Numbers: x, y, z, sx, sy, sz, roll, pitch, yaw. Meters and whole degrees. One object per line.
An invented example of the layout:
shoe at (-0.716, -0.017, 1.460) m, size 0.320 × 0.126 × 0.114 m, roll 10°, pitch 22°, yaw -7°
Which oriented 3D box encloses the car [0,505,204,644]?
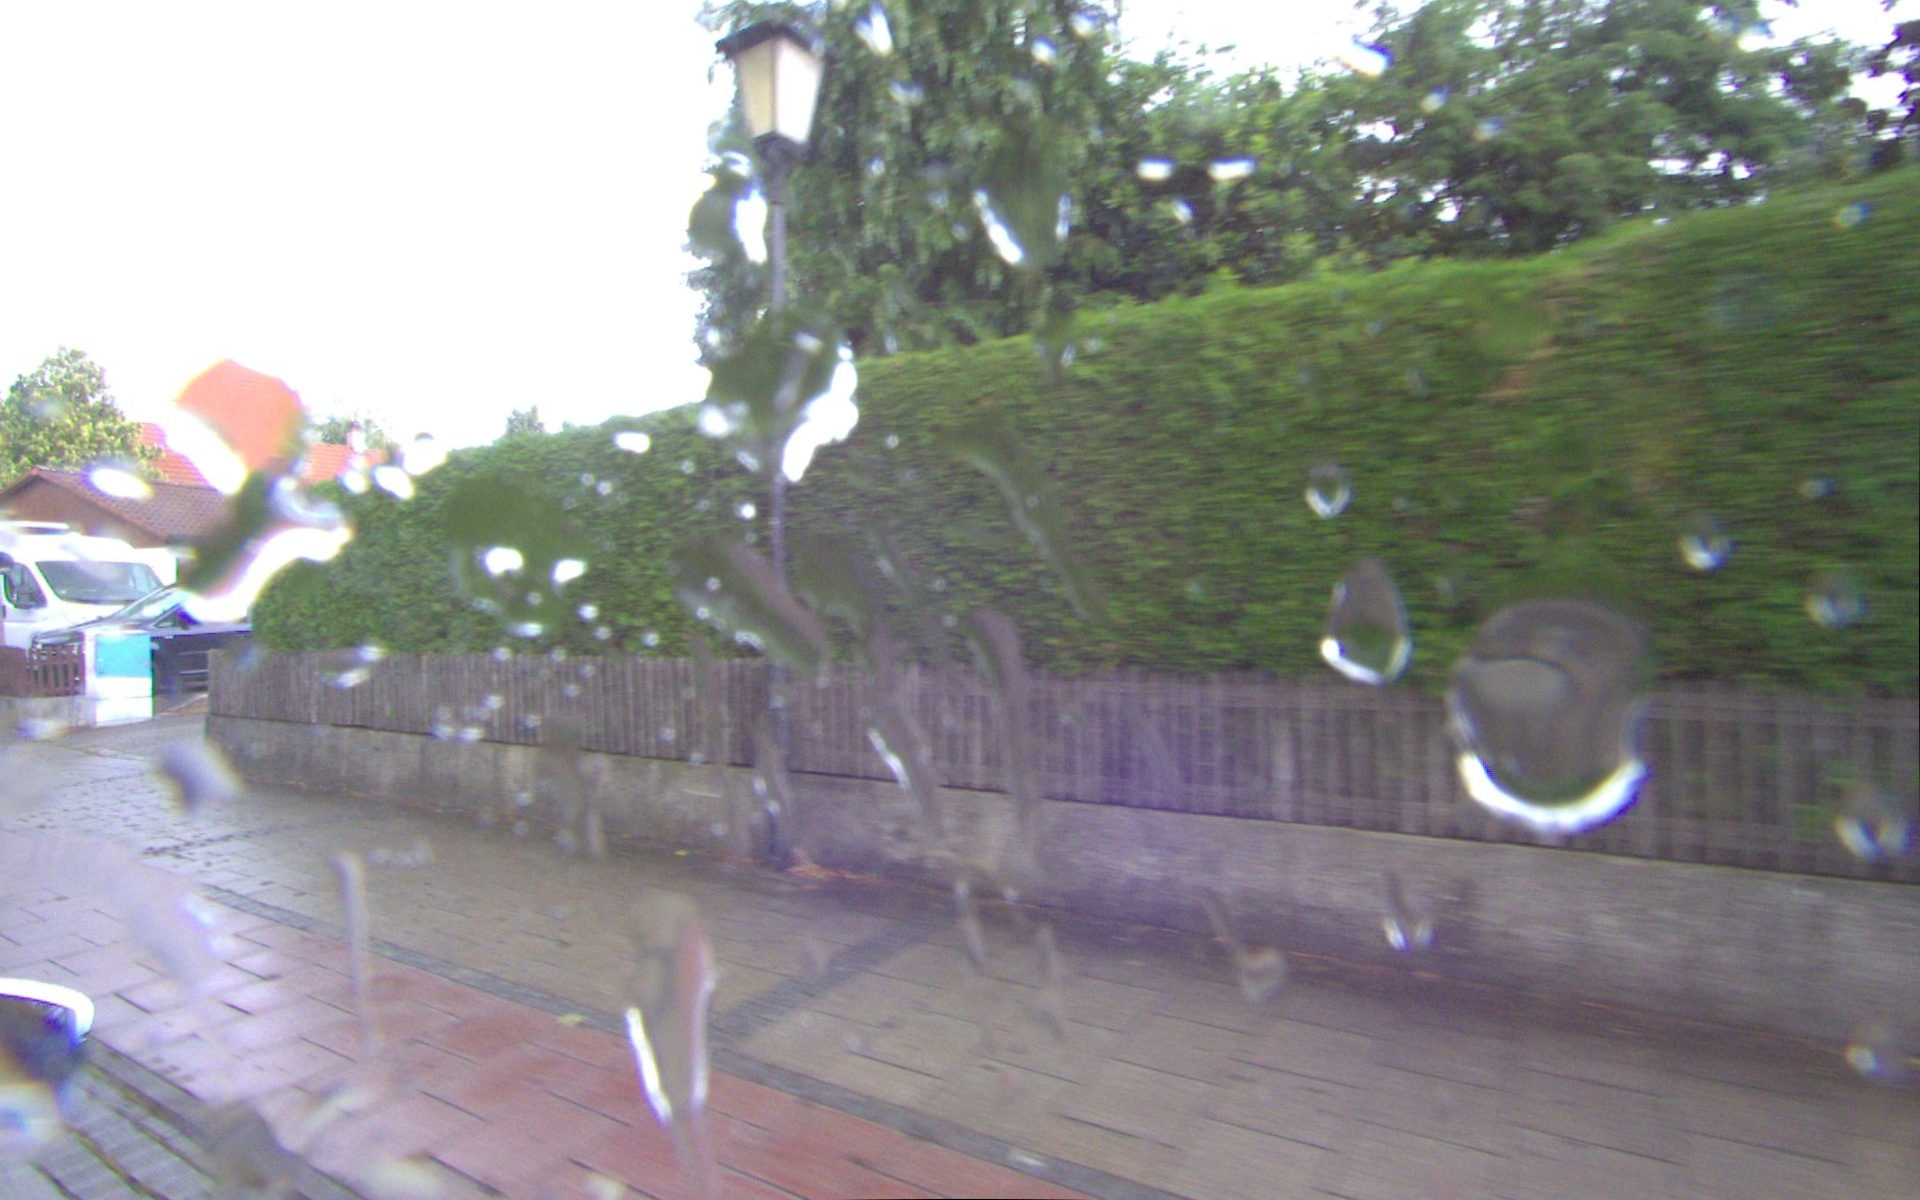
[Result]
car at (-16.129, -0.334, 17.735) m, size 4.866 × 2.201 × 1.997 m, roll -1°, pitch -2°, yaw 19°

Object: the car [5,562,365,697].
car at (-11.697, 0.374, 15.437) m, size 1.668 × 1.775 × 4.089 m, roll 2°, pitch 1°, yaw 29°
